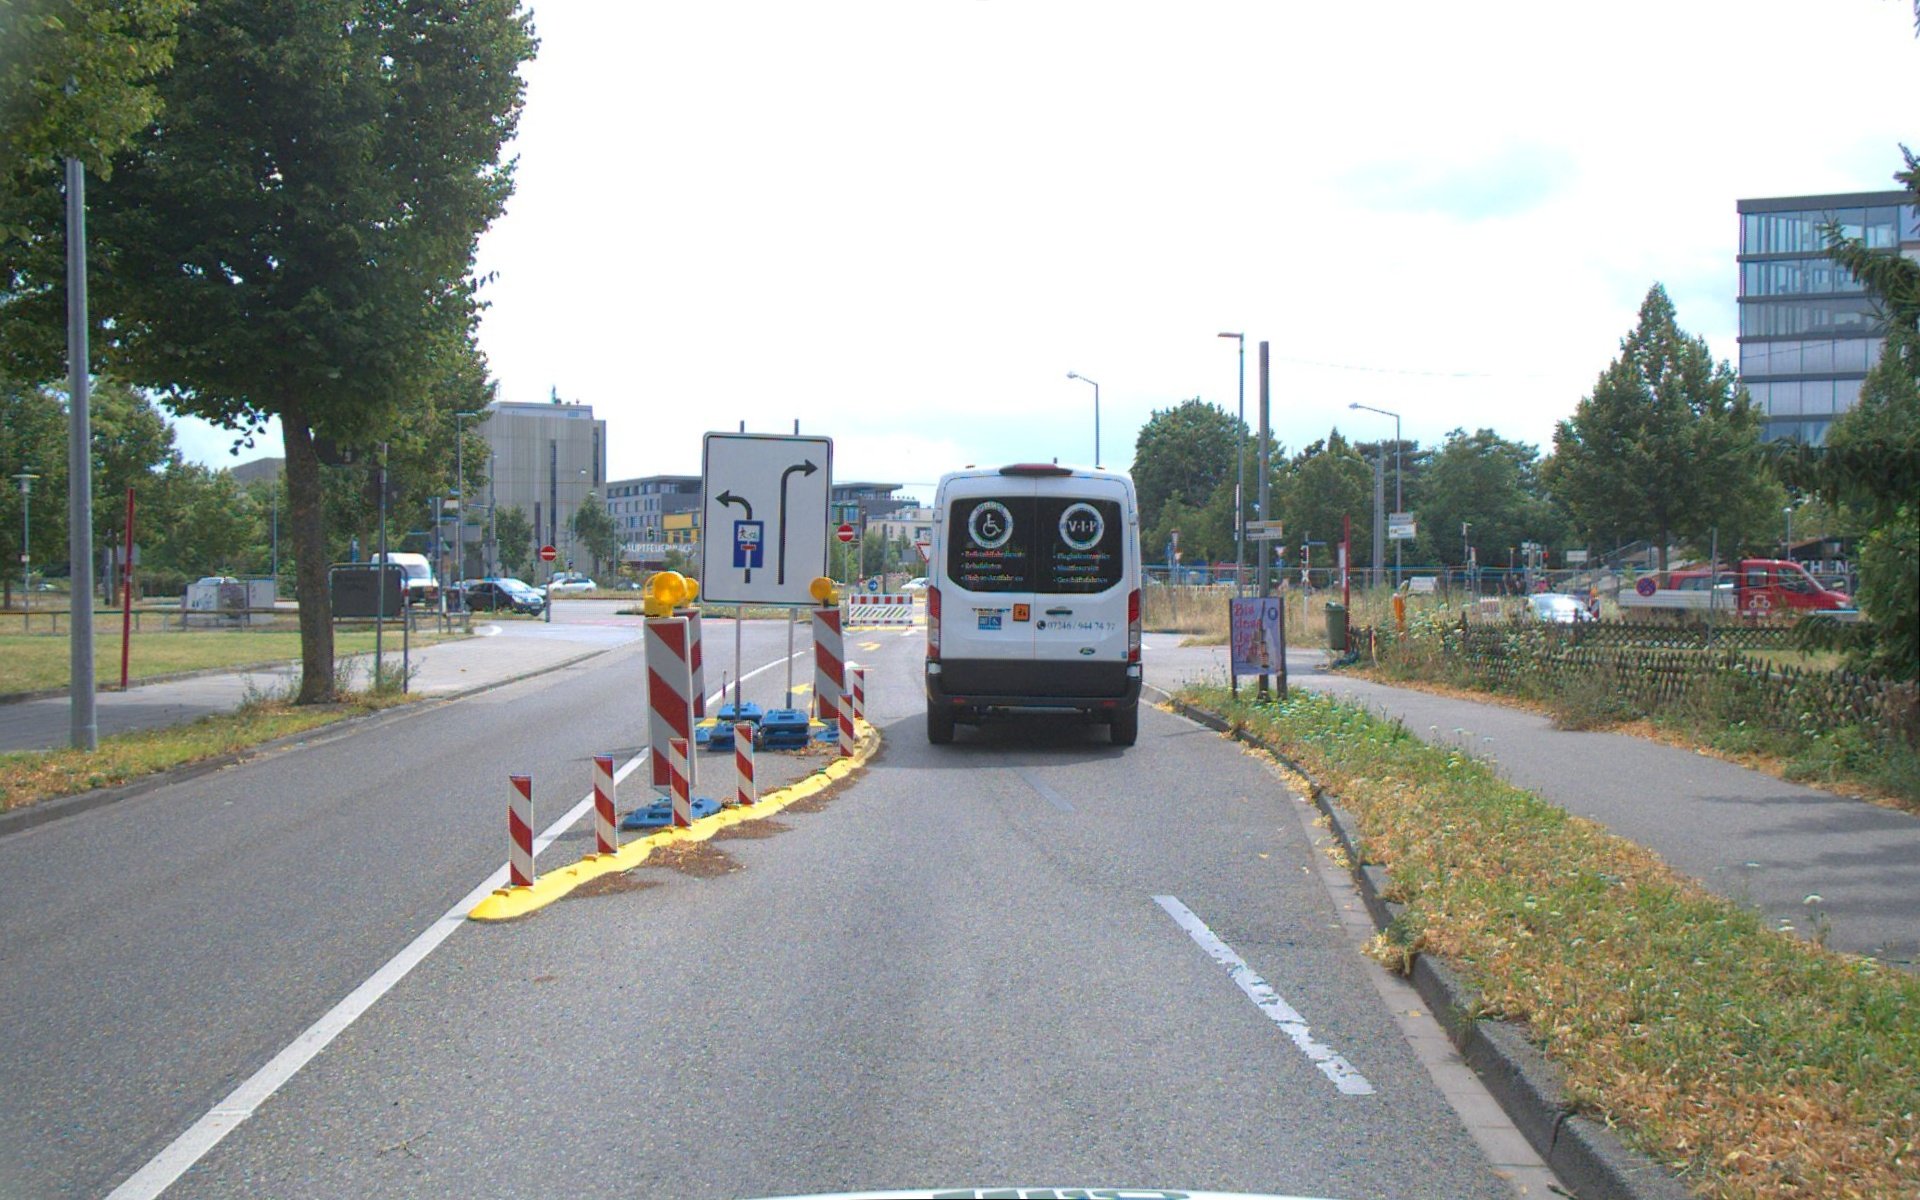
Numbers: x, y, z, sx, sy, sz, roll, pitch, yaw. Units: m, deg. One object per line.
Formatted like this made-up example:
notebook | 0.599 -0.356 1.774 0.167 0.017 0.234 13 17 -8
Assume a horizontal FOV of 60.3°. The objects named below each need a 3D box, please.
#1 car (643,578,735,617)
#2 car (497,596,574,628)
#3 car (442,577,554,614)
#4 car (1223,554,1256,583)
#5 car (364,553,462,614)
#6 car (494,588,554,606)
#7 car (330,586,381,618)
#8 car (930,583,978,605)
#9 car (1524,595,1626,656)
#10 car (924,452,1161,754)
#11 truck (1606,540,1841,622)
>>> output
car | -13.018 -0.115 79.455 3.902 1.691 1.893 -2 1 10
car | -20.121 0.576 78.229 1.610 1.377 4.285 -3 1 -44
car | -19.403 -0.179 69.482 4.152 1.504 1.779 0 0 9
car | 18.758 -2.130 110.835 1.964 1.848 4.416 -2 1 12
car | -27.657 -0.814 83.565 2.598 2.901 5.587 -2 1 -42
car | -32.184 -0.214 122.045 3.954 1.213 1.665 -3 1 -35
car | -34.242 0.112 93.655 1.868 1.691 3.954 -2 1 -33
car | -0.548 -0.536 146.159 3.951 1.802 1.748 -2 1 -33
car | 17.328 0.691 46.789 1.811 1.523 4.340 -2 1 9
car | 0.786 0.021 16.332 2.020 2.584 4.001 -1 0 2
truck | 23.825 -0.594 51.873 6.528 2.468 2.532 0 0 24
